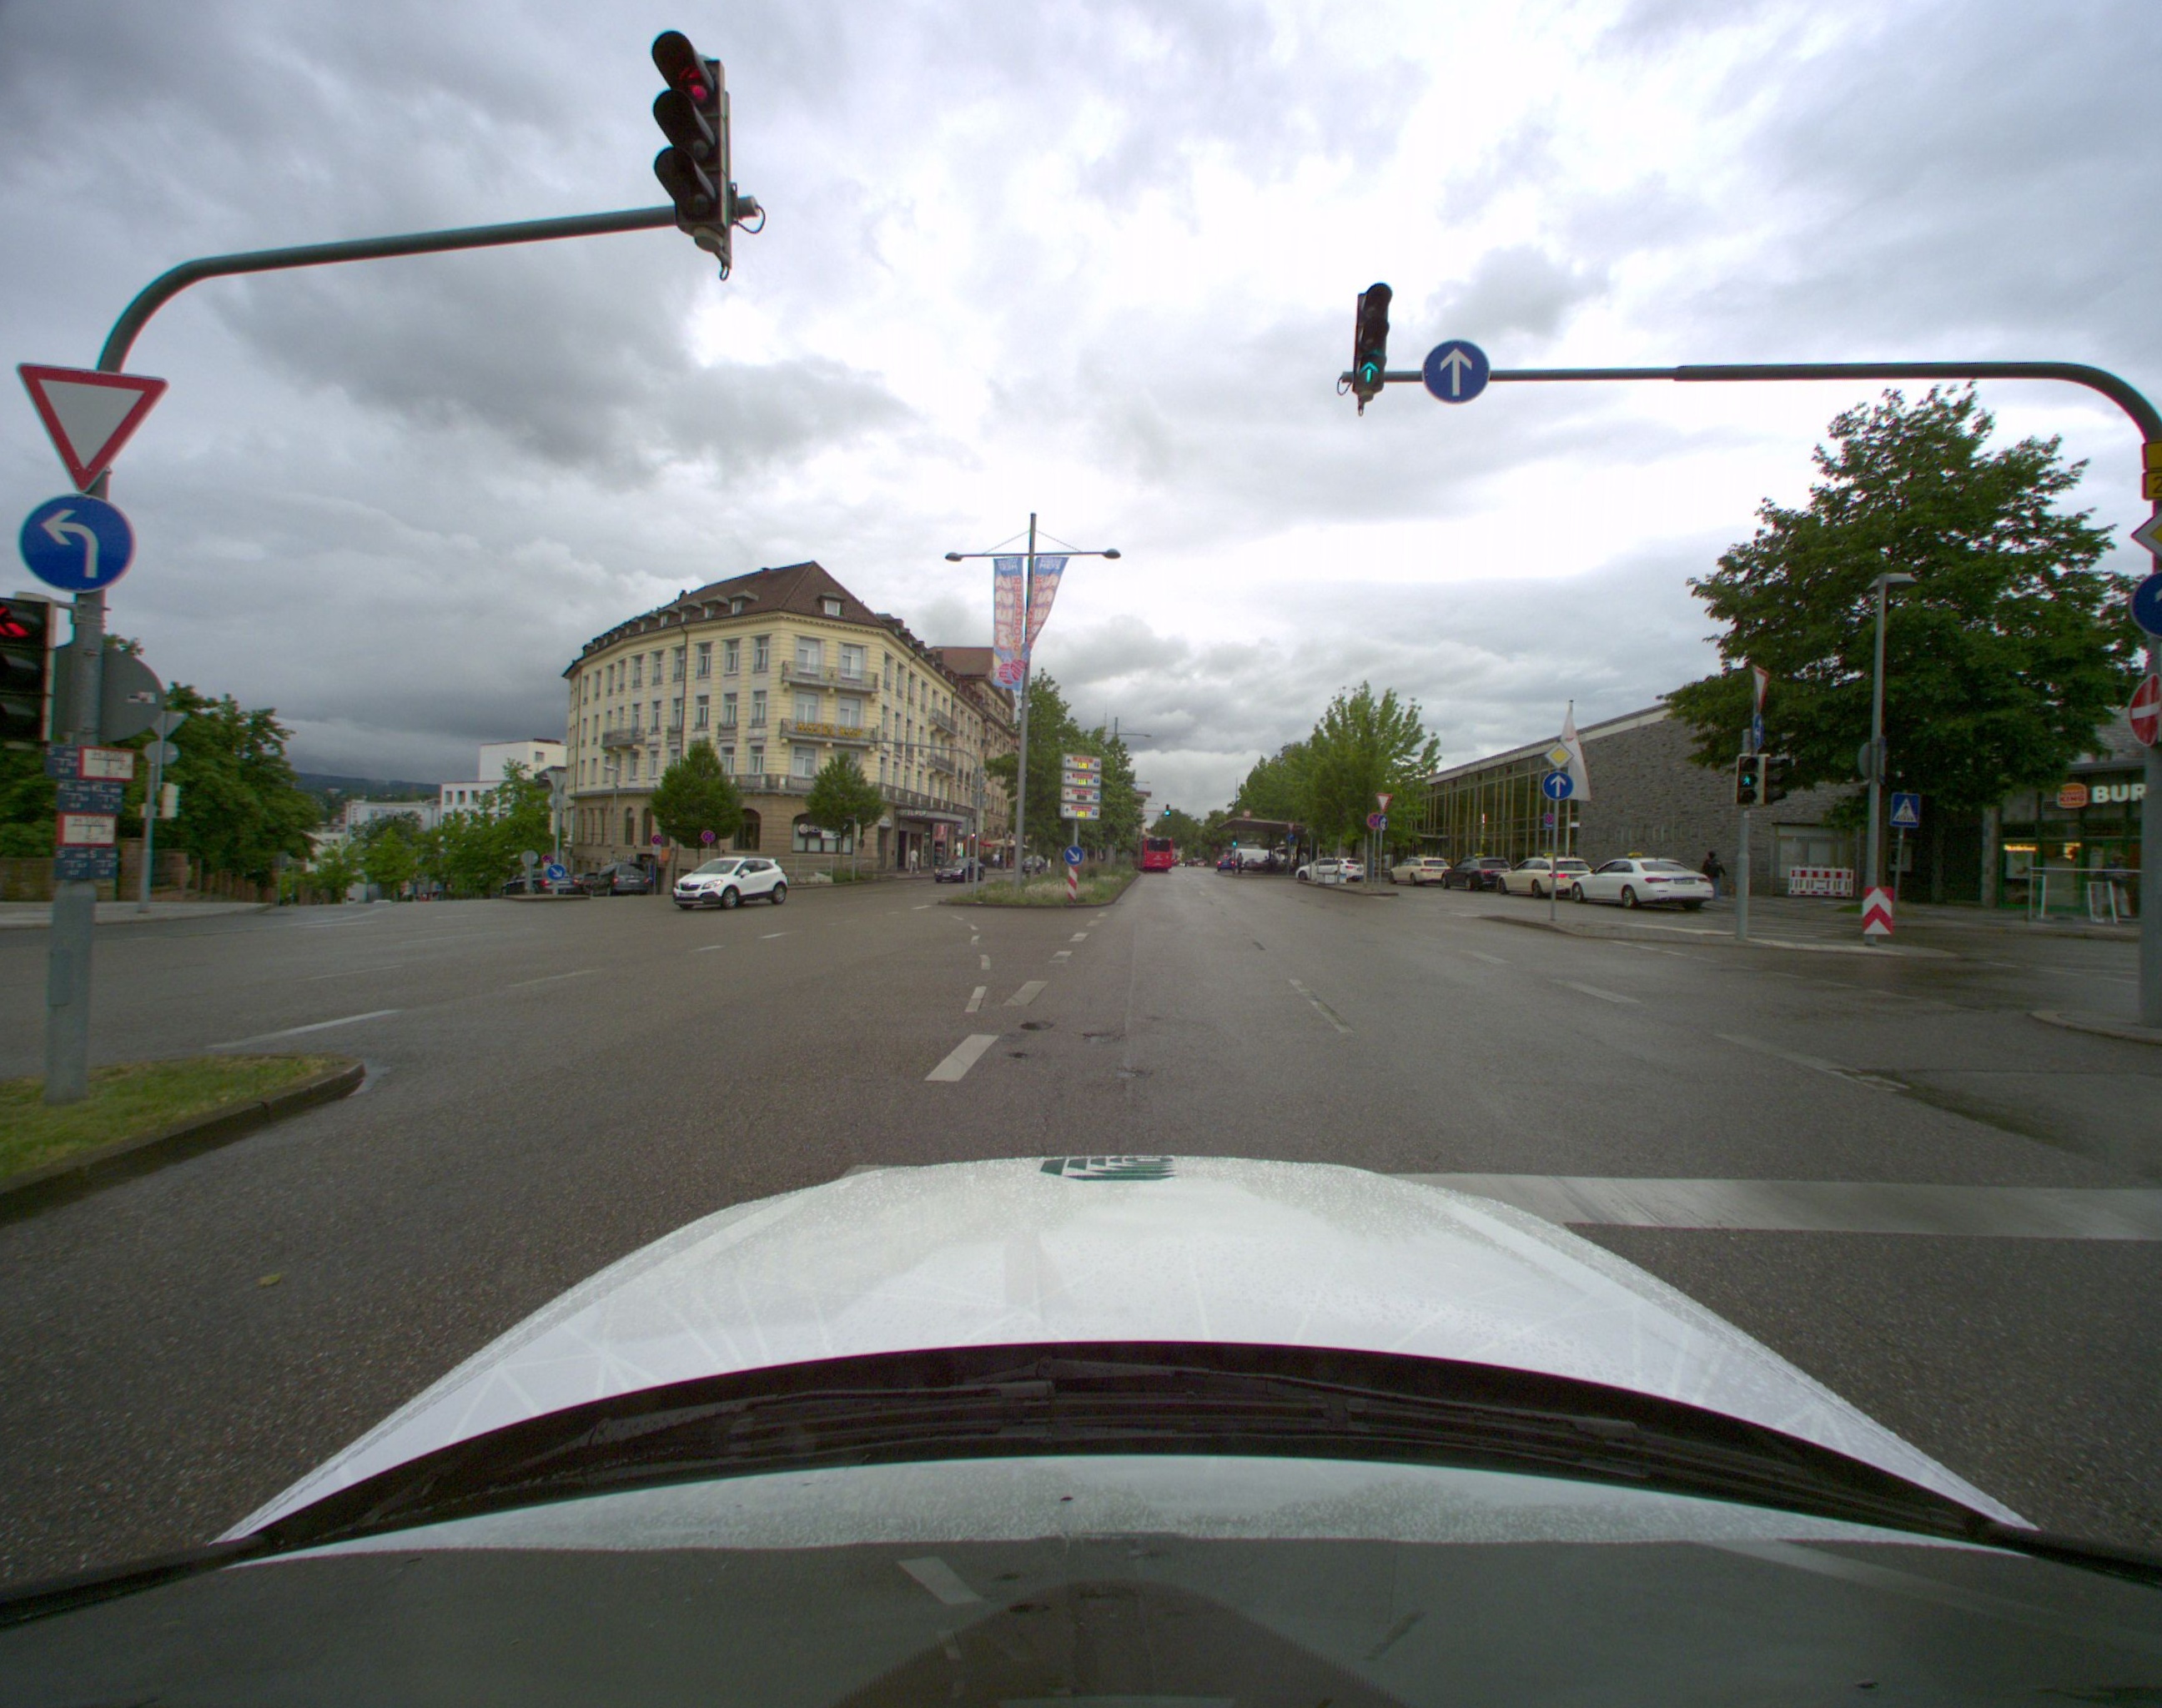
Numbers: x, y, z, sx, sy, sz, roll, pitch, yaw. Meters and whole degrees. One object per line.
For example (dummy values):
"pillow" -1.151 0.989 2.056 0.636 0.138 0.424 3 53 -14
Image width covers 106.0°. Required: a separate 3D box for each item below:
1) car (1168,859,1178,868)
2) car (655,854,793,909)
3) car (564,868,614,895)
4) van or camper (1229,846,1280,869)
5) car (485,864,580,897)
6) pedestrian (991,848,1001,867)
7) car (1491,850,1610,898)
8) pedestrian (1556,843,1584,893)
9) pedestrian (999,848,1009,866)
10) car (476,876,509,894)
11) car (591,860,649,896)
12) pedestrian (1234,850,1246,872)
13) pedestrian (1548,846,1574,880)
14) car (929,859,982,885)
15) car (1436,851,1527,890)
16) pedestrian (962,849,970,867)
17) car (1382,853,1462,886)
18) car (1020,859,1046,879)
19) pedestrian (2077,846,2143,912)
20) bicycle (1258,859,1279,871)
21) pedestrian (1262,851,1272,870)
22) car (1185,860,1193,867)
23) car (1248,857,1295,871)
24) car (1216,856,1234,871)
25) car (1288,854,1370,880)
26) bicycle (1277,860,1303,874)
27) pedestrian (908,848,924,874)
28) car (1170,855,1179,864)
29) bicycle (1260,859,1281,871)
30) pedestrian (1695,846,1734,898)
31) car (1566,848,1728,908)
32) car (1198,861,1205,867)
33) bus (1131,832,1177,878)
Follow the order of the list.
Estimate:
"car" 19.398 1.992 171.920 1.983 2.014 4.007 -1 -1 6
"car" -11.500 0.850 26.597 1.942 1.618 4.223 -1 -1 13
"car" -28.362 1.546 46.913 1.644 1.398 3.951 0 0 -44
"van or camper" 21.495 0.482 101.055 5.969 2.763 2.183 0 -1 -22
"car" -25.661 1.229 38.066 4.396 1.466 1.710 -1 -1 27
"pedestrian" -7.656 0.305 73.096 0.677 1.664 0.809 -1 -1 9
"car" 17.221 0.689 30.203 1.983 1.599 4.967 -1 0 6
"pedestrian" 21.709 0.624 36.163 0.791 2.164 0.724 -1 -1 7
"pedestrian" -6.902 0.282 72.935 0.678 1.664 0.808 -1 -1 6
"car" -50.320 2.619 69.606 1.780 1.478 3.951 0 -1 -43
"car" -23.966 1.209 42.285 1.644 1.759 3.951 0 0 -44
"pedestrian" 12.847 0.595 65.812 0.744 1.747 0.835 0 -1 -2
"pedestrian" 22.399 0.414 38.021 0.765 1.580 0.711 -1 -1 2
"car" -7.221 1.006 47.156 1.944 1.422 4.009 -1 -1 8
"car" 17.757 0.698 36.423 1.984 1.599 4.965 1 0 5
"pedestrian" -10.659 0.385 75.744 0.665 1.664 0.536 -1 -1 -3
"car" 17.873 0.779 42.943 1.988 1.599 4.954 -1 0 -2
"car" -3.841 1.215 65.866 1.670 1.512 3.865 -1 -1 2
"pedestrian" 26.753 0.640 21.187 0.715 1.667 0.801 -1 -1 16
"bicycle" 16.246 0.953 70.553 1.829 1.056 0.418 0 -1 -13
"pedestrian" 18.260 0.626 79.930 0.852 1.835 1.192 0 -1 5
"car" 23.628 2.012 178.348 1.587 1.561 3.656 -1 -1 6
"car" 18.874 1.018 80.707 4.191 1.325 1.831 1 -1 -14
"car" 14.876 0.998 84.221 1.847 1.569 4.010 0 -1 10
"car" 15.110 0.794 49.847 1.770 1.546 4.727 1 -1 -34
"bicycle" 15.812 0.964 61.586 1.818 1.056 0.421 -1 -1 5
"pedestrian" -11.282 0.481 55.788 0.875 1.813 0.751 -1 -1 5
"car" 21.563 1.317 187.357 1.983 2.014 4.007 -1 -1 6
"bicycle" 16.310 0.953 70.096 1.829 1.056 0.418 0 -1 -13
"pedestrian" 20.235 0.571 26.012 0.726 1.626 0.788 0 -1 -38
"car" 16.682 0.683 24.367 1.870 1.599 4.911 -1 -1 6
"car" 34.381 2.766 232.438 1.636 1.661 3.656 -1 -1 6
"bus" 6.740 0.164 76.901 3.532 3.979 11.174 -1 -1 2
